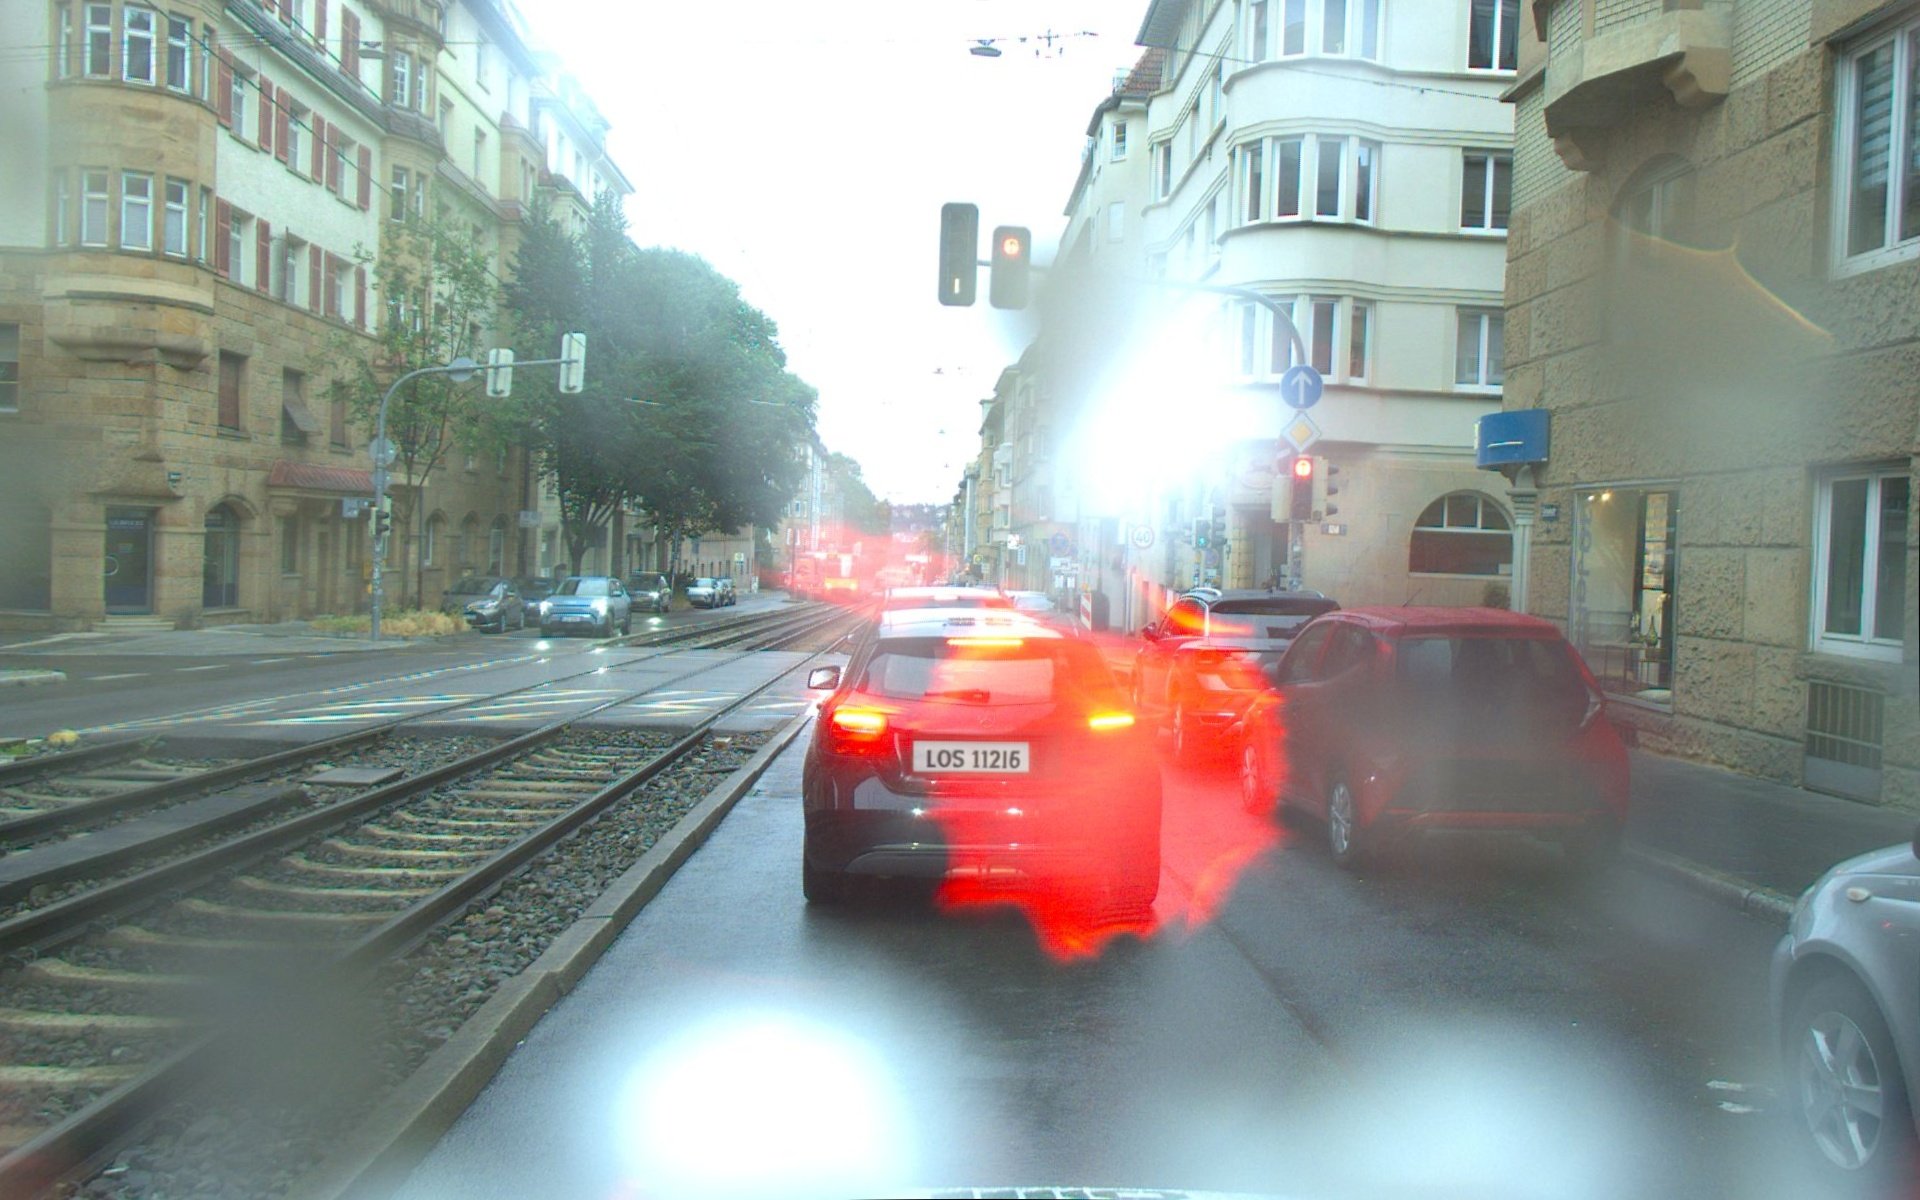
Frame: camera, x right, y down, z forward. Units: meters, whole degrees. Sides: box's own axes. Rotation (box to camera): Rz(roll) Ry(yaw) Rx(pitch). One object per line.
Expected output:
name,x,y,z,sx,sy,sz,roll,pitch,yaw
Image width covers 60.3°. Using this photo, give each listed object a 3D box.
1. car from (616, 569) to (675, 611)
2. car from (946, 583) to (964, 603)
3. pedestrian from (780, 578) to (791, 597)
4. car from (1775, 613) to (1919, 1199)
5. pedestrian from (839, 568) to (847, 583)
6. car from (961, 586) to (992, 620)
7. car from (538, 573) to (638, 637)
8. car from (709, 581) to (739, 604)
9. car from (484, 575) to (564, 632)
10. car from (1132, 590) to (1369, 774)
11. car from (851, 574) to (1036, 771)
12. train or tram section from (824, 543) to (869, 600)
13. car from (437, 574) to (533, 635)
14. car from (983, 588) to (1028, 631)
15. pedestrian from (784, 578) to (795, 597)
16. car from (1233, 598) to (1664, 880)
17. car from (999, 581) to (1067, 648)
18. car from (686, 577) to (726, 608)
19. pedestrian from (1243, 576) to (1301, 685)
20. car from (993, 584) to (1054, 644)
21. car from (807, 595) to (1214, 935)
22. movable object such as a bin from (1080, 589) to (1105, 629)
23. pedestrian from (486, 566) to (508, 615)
car,-13.552,-0.411,71.504,1.837,1.767,3.917,1,0,-1
car,-0.439,-0.593,143.328,1.513,1.664,3.686,1,0,0
pedestrian,-18.368,-1.332,174.112,1.031,1.992,1.043,2,0,0
car,3.129,0.790,3.098,1.581,1.493,3.312,0,0,0
pedestrian,-15.862,-3.375,224.446,1.031,1.992,1.043,2,0,0
car,0.733,0.138,73.604,1.268,1.467,2.928,1,0,-1
car,-10.040,0.144,44.925,1.860,1.615,3.972,1,0,-1
car,-14.014,-0.436,98.370,1.419,1.354,3.270,1,0,-3
car,-13.269,0.109,50.521,1.683,1.639,3.914,1,0,-5
car,2.636,0.679,15.793,1.513,1.512,3.829,1,0,-1
car,-0.170,0.619,15.832,1.533,1.637,3.813,1,0,-1
train or tram section,-8.357,-2.024,122.738,2.726,3.928,10.427,1,0,-1
car,-13.005,0.127,45.494,1.718,1.579,4.032,1,0,-4
car,1.672,0.331,61.546,1.513,1.512,3.547,1,0,-1
pedestrian,-18.118,-1.321,175.571,1.031,1.992,1.043,2,0,0
car,2.912,0.751,10.558,1.609,1.473,3.297,1,0,-3
car,1.846,0.355,42.664,1.513,1.618,3.547,1,0,-1
car,-13.647,-0.380,88.965,1.557,1.608,3.917,1,0,-1
pedestrian,5.173,0.500,27.490,0.726,1.778,1.111,1,-1,-1
car,1.776,0.381,47.137,1.513,1.618,3.547,1,0,-1
car,0.196,0.733,9.449,1.792,1.483,4.103,1,0,-1
movable object such as a bin,4.772,0.309,59.641,0.859,1.413,0.983,1,-1,3
pedestrian,-16.321,-0.330,58.275,0.619,1.702,0.701,1,-1,-7
